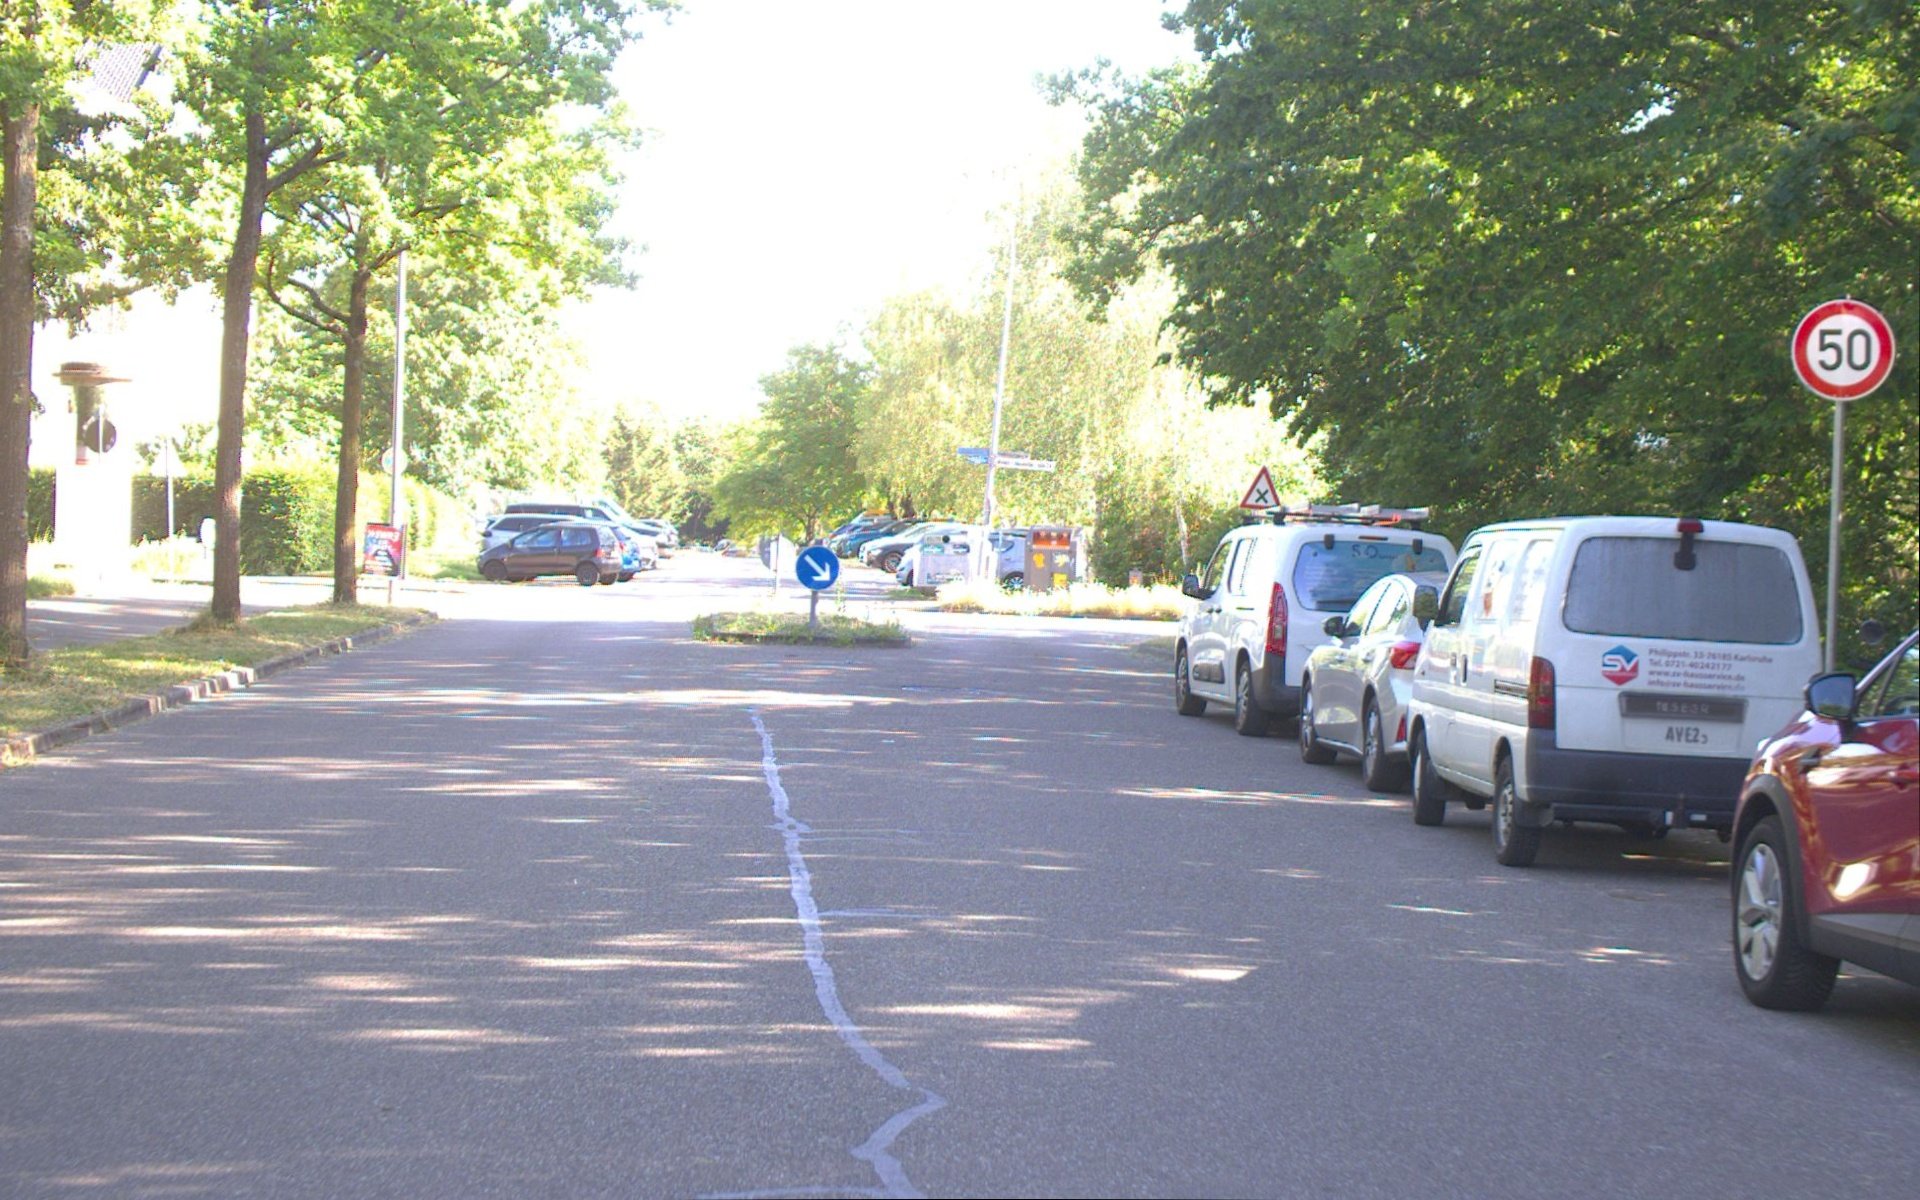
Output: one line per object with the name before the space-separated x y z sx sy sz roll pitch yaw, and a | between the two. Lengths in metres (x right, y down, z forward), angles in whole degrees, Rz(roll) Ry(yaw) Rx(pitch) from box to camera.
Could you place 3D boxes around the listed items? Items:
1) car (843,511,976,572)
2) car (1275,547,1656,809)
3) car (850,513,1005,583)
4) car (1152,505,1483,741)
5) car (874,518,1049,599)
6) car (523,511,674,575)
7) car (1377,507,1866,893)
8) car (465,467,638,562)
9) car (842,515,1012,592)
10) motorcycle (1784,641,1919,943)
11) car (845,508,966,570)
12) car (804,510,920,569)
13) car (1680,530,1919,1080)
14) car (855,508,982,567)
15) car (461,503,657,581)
car | -1.520 -1.781 104.414 3.839 1.571 1.688 4 1 4
car | 3.355 0.460 23.587 1.691 1.507 4.207 4 1 -3
car | -0.828 -1.352 89.628 3.839 1.571 1.688 4 1 4
car | 2.987 0.127 29.718 1.790 1.779 4.558 4 1 -7
car | 0.049 -0.958 79.032 3.839 1.571 1.688 4 1 4
car | -10.423 -1.646 99.366 4.106 1.571 1.959 4 1 -1
car | 3.415 0.445 18.426 1.623 1.767 3.669 4 1 -3
car | -12.853 -2.677 108.187 5.198 2.612 2.294 4 1 -8
car | -0.767 -1.110 81.818 3.839 1.571 1.688 4 1 4
motorcycle | 4.263 0.819 15.154 0.647 1.191 2.035 3 1 -2
car | -1.790 -2.032 113.742 3.838 1.789 1.688 4 1 2
car | -3.369 -2.089 118.609 3.838 1.789 1.688 4 1 2
car | 3.730 0.654 10.610 1.775 1.616 4.065 4 1 -5
car | -1.278 -1.961 107.557 3.838 1.571 1.688 4 1 2
car | -9.665 -1.400 83.078 4.319 1.571 2.046 4 1 4
